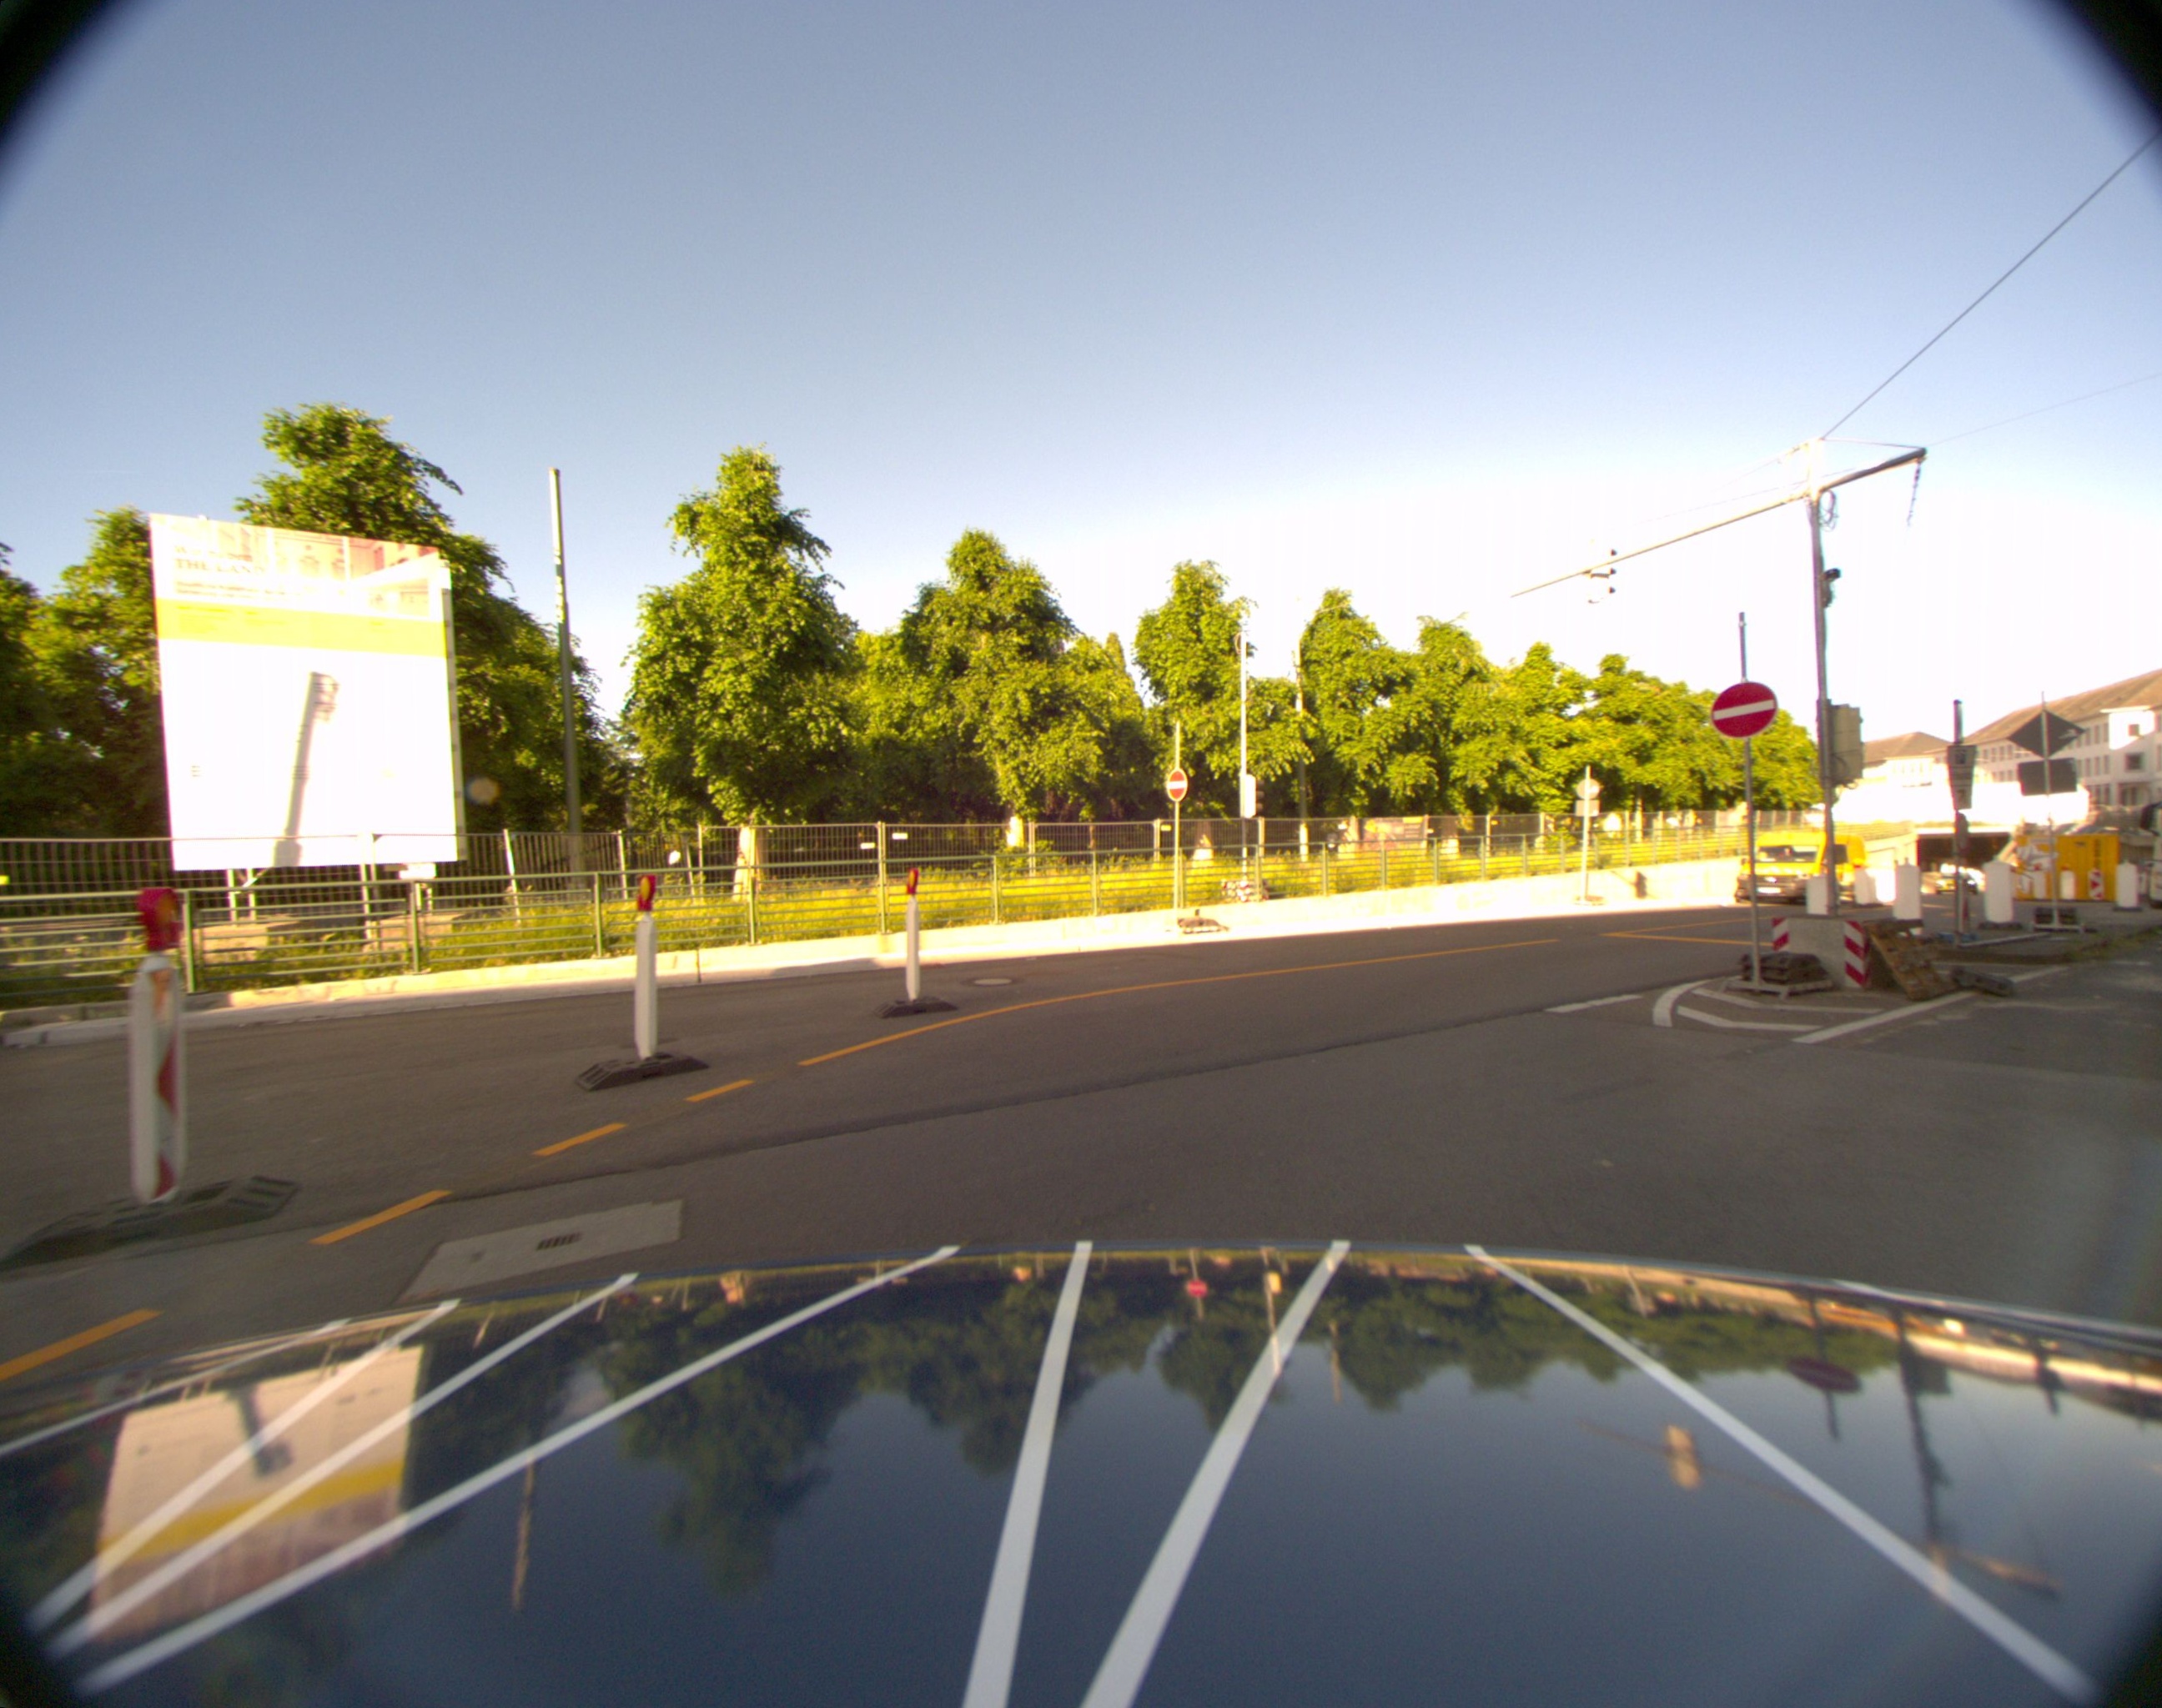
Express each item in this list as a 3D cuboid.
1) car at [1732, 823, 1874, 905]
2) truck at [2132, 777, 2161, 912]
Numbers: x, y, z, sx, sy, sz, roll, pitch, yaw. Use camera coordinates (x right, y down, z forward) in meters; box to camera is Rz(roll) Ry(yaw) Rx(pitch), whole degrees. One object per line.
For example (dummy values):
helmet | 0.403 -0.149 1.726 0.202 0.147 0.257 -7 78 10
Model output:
car | 25.706 0.336 26.949 6.999 2.609 2.113 0 0 -33
truck | 30.767 -0.172 20.296 5.826 3.471 2.580 1 3 -32
